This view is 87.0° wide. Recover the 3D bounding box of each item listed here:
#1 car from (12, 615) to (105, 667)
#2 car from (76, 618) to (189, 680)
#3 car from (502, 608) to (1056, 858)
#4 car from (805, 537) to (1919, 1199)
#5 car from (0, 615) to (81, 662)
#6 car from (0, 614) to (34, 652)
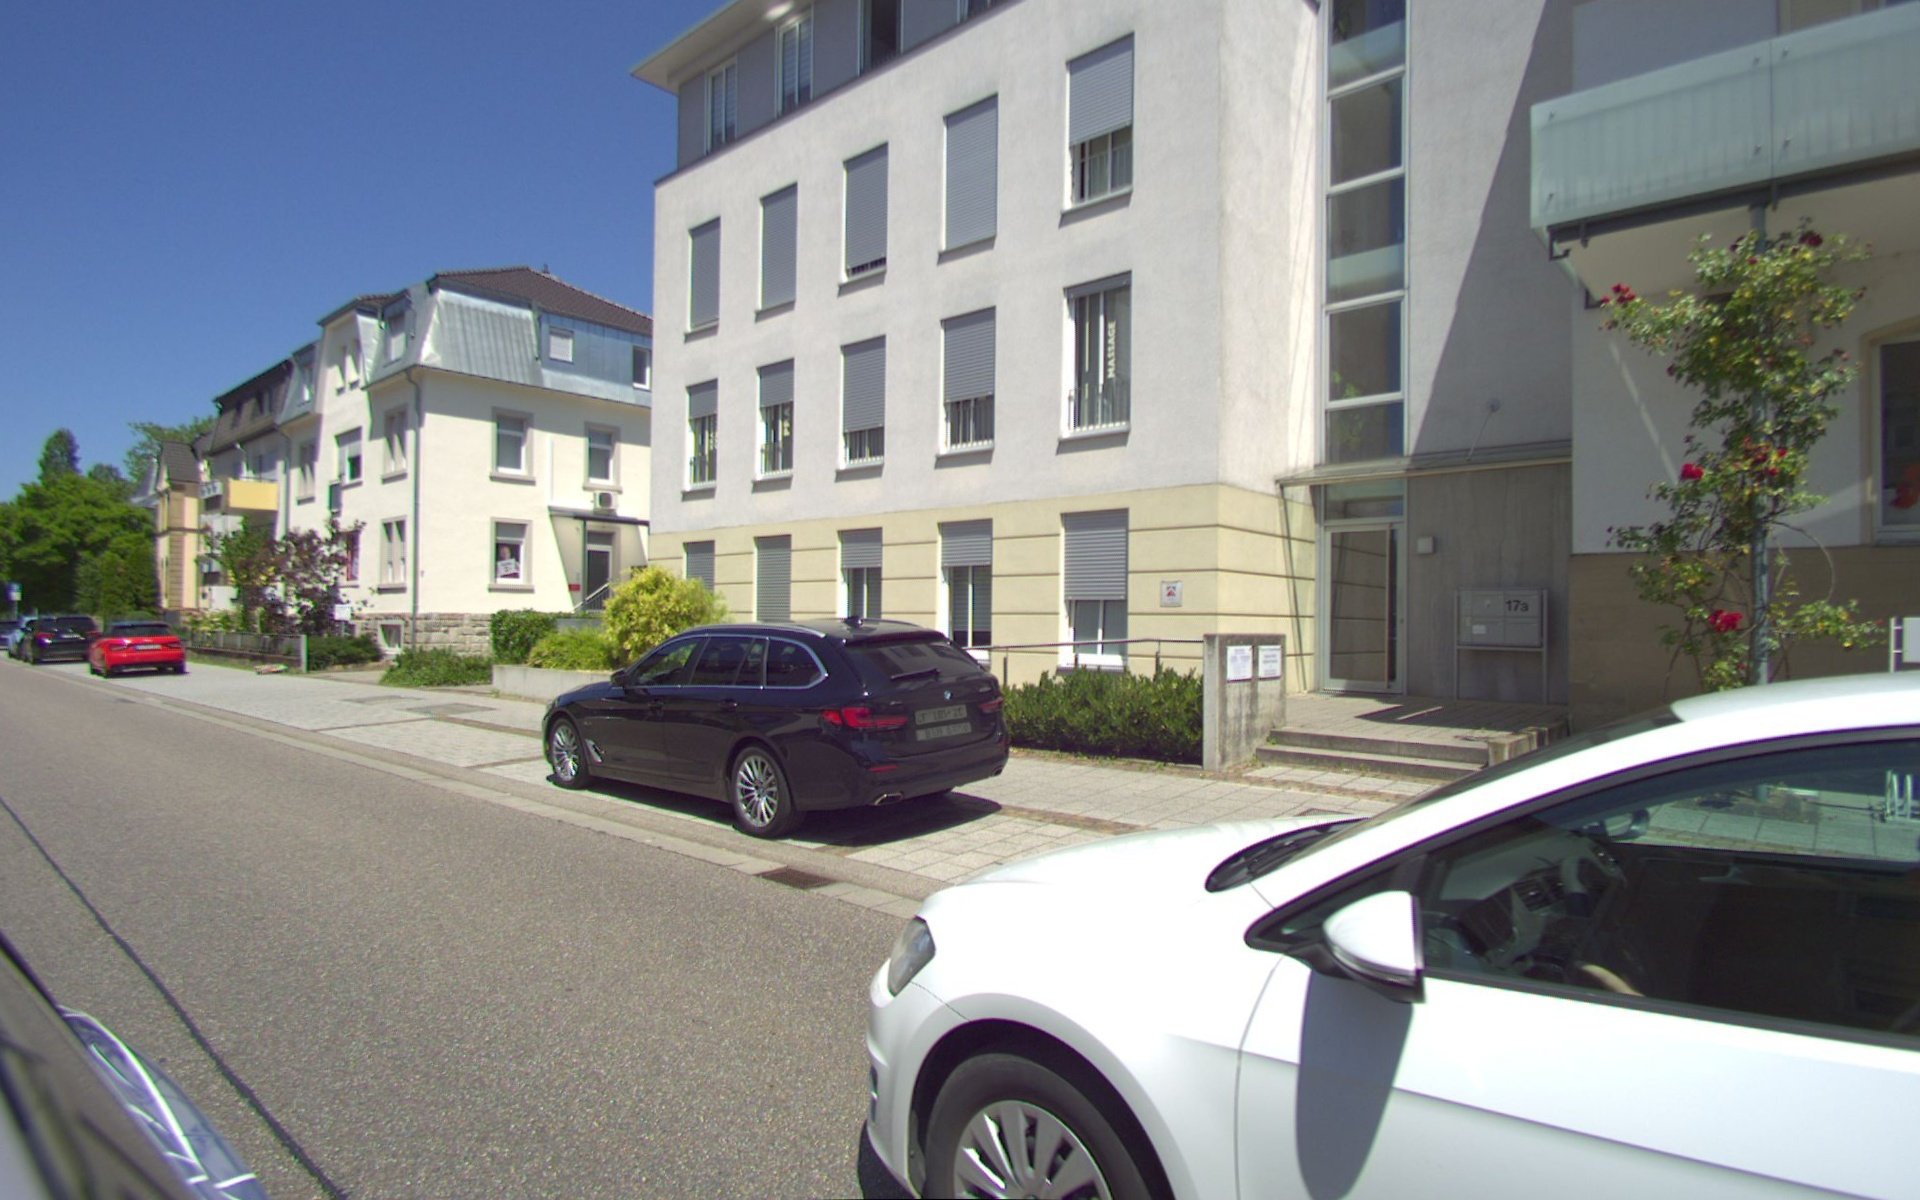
[{"bbox_3d":[-30.759,1.345,34.494,4.435,1.598,1.900,-1,1,42],"label":"car"},{"bbox_3d":[-22.212,1.262,27.112,4.259,1.463,1.714,-1,1,42],"label":"car"},{"bbox_3d":[-1.827,0.850,8.625,5.148,1.463,1.896,-1,1,42],"label":"car"},{"bbox_3d":[1.728,0.722,1.590,3.866,1.493,1.789,-1,-3,40],"label":"car"},{"bbox_3d":[-34.802,1.399,38.247,4.286,1.598,1.900,-1,1,42],"label":"car"},{"bbox_3d":[-45.407,1.568,47.972,4.288,1.703,1.899,-1,1,43],"label":"car"}]
